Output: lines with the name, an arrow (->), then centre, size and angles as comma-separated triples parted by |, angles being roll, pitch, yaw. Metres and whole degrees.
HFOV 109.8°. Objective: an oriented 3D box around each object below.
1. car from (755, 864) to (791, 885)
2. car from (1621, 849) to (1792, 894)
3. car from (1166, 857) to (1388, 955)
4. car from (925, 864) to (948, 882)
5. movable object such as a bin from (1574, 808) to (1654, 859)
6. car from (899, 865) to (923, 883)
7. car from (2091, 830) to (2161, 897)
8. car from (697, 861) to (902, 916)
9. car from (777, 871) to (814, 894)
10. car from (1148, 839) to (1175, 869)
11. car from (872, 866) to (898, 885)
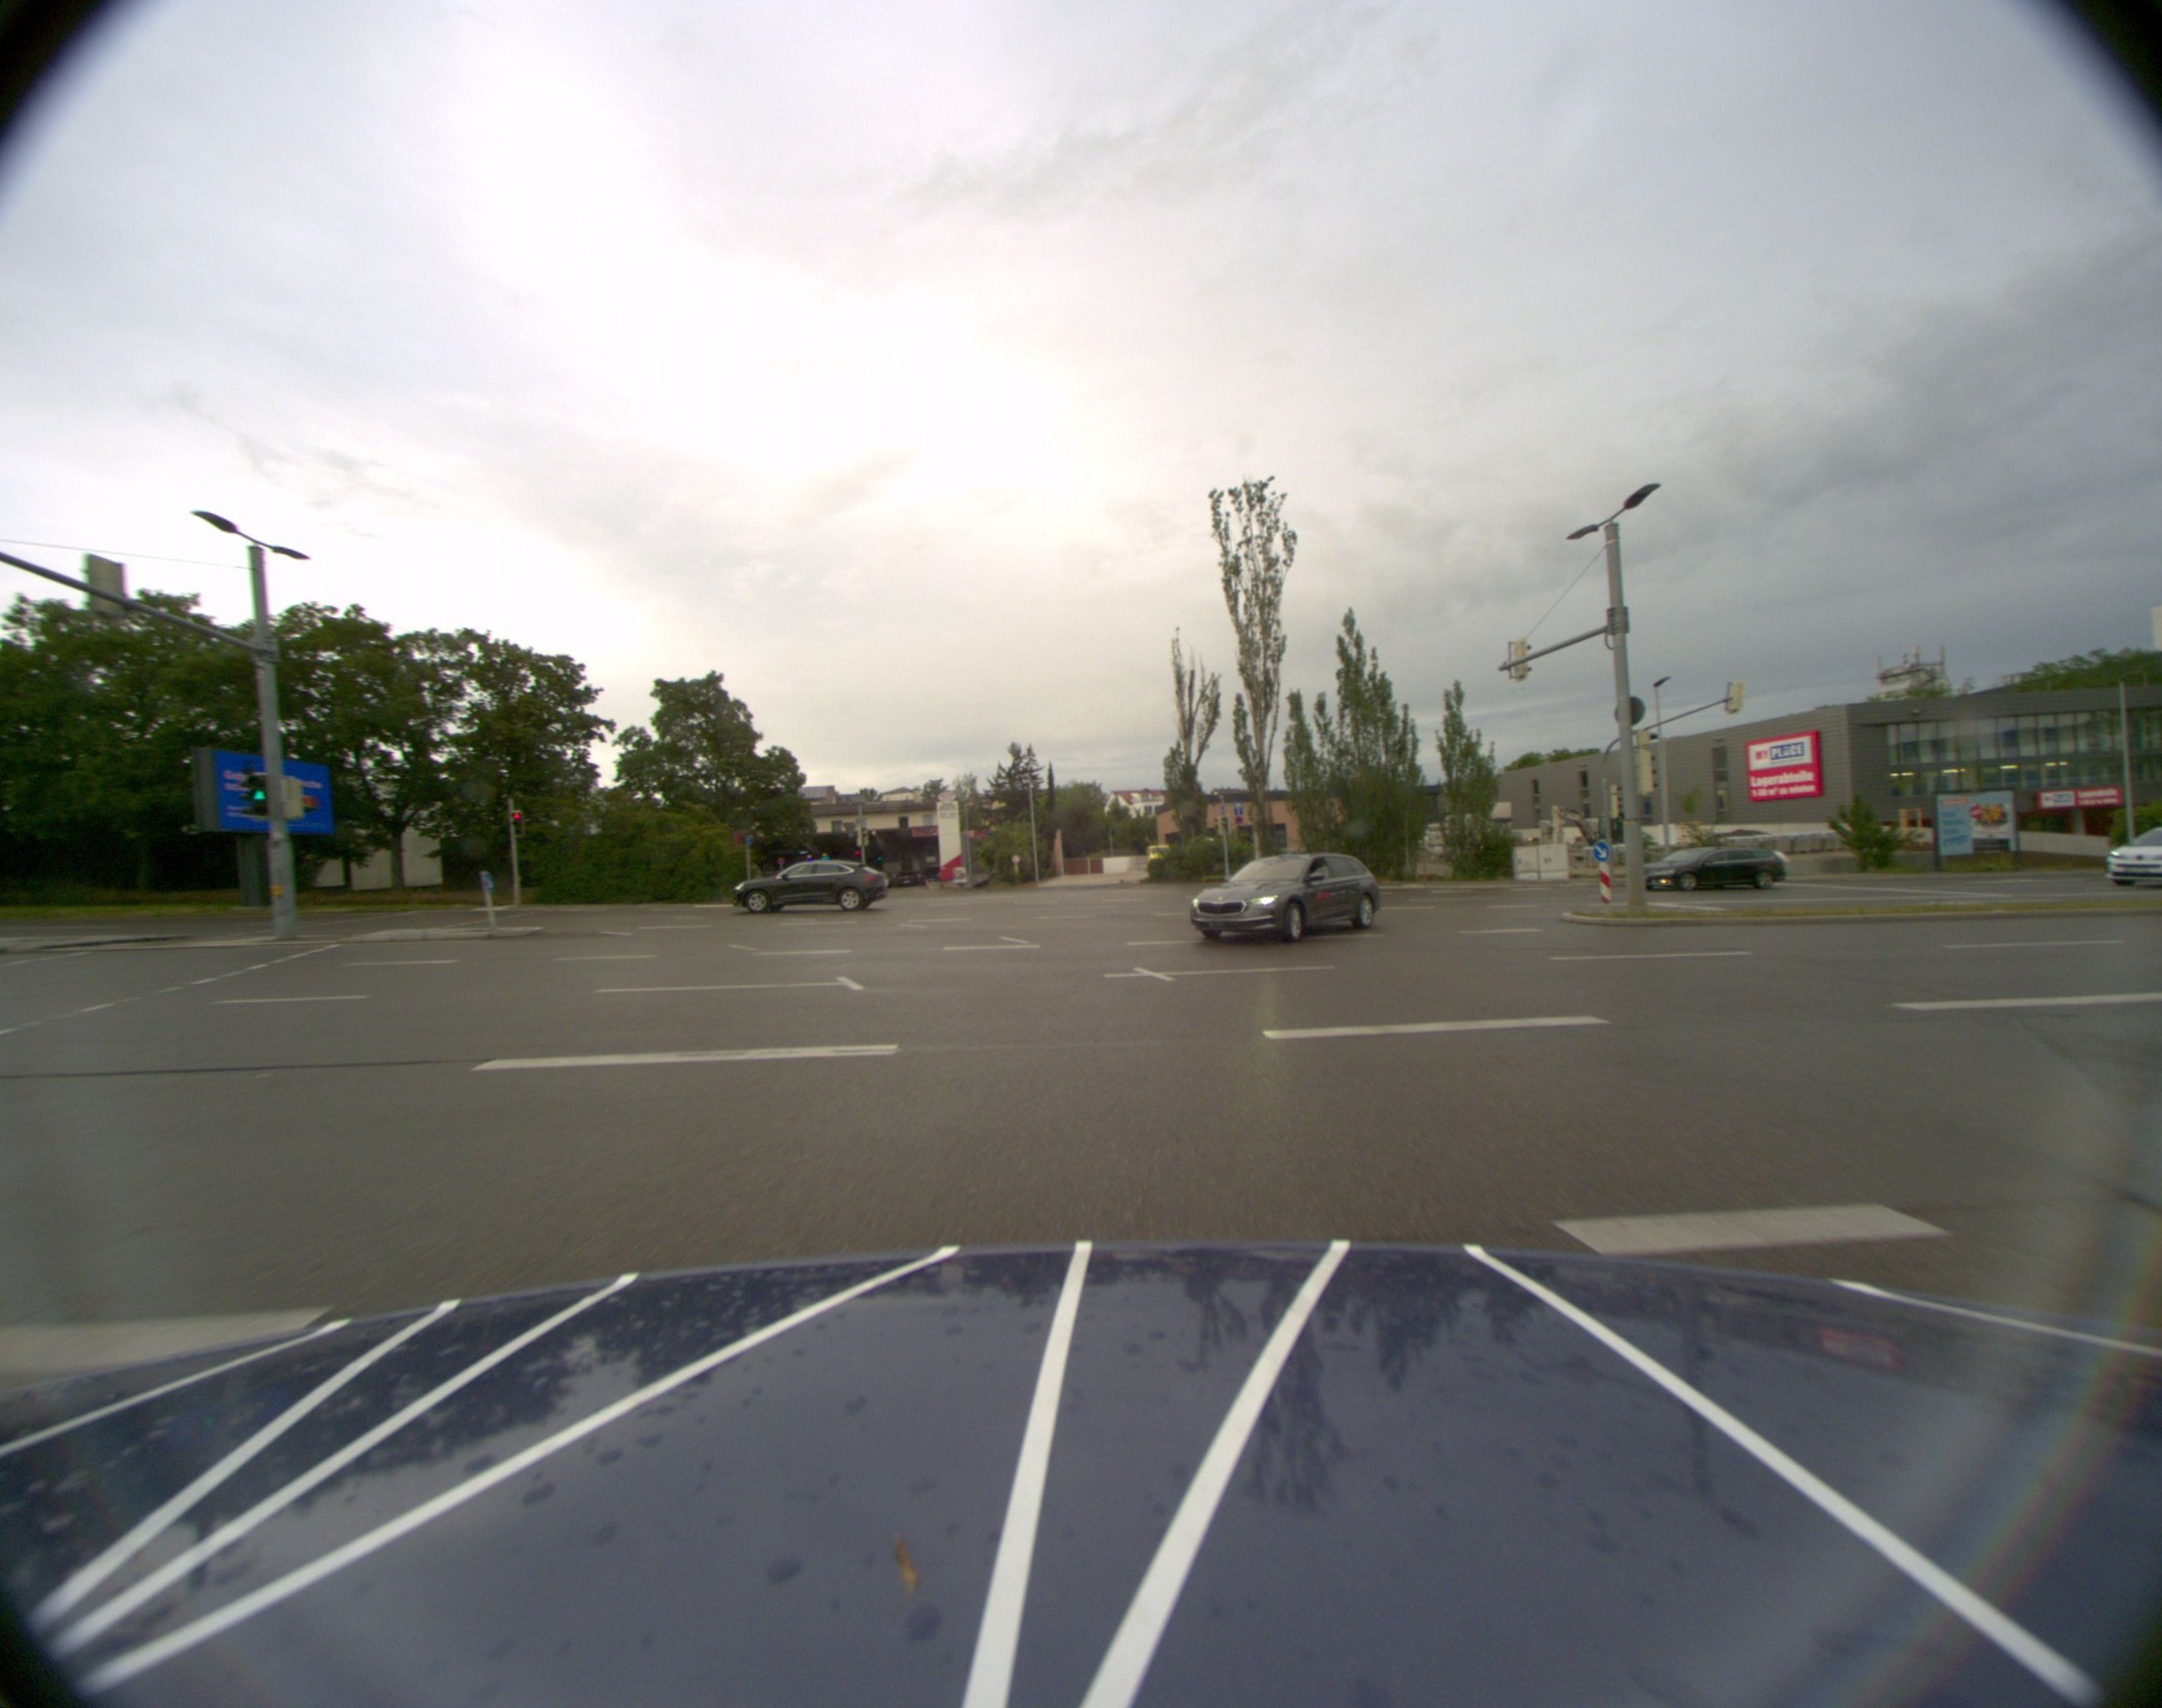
car -> -25.499, 1.653, 62.959 | 1.747, 1.641, 3.998 | -1, 0, -7
car -> 21.277, 0.573, 25.950 | 4.481, 1.396, 1.839 | -1, 0, -5
car -> 3.650, 0.825, 13.746 | 4.210, 1.448, 1.835 | -1, 0, -42
car -> -13.473, 1.743, 70.982 | 1.747, 1.641, 3.998 | -1, 0, -7
movable object such as a bin -> 28.461, -1.056, 40.609 | 2.999, 2.611, 1.927 | -1, 0, -11
car -> -15.850, 1.851, 70.862 | 1.747, 1.641, 3.998 | -1, 0, -7
car -> 35.006, 0.244, 23.614 | 5.192, 2.022, 1.839 | -1, 0, -4
car -> -8.438, 1.000, 23.194 | 5.533, 1.491, 1.839 | -1, 0, -5
car -> -22.339, 2.177, 59.577 | 1.747, 1.641, 3.998 | -1, 0, -7
car -> 6.445, 0.026, 61.285 | 1.745, 2.301, 5.223 | -1, 0, 1
car -> -18.209, 1.960, 70.756 | 1.747, 1.641, 3.998 | -1, 0, -7
